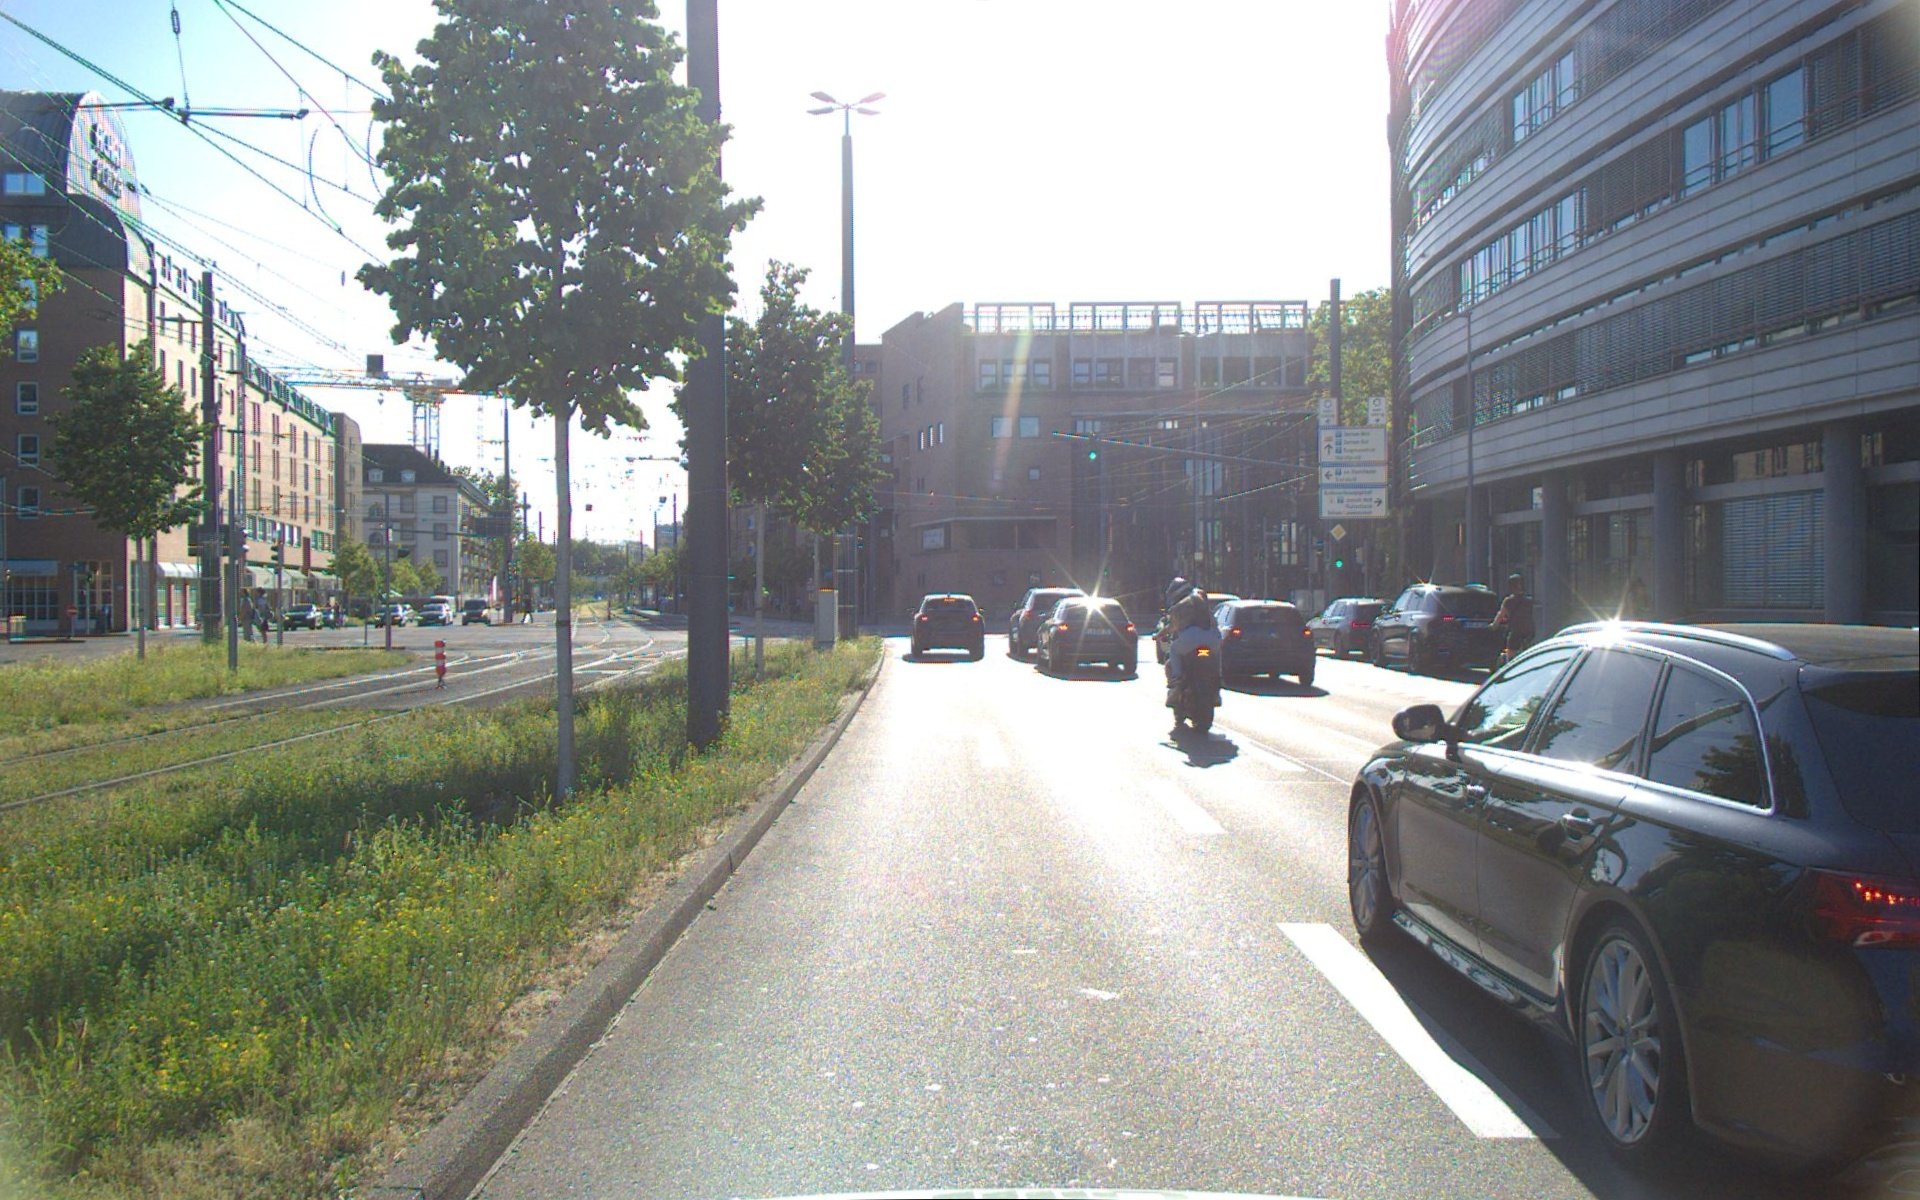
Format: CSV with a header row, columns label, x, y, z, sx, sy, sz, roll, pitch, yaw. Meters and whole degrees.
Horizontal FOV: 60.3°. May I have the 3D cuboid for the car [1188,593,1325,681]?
label,x,y,z,sx,sy,sz,roll,pitch,yaw
car,5.379,0.633,30.466,1.770,1.482,4.000,1,0,-1

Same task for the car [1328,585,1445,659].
label,x,y,z,sx,sy,sz,roll,pitch,yaw
car,10.156,0.497,39.668,1.952,1.680,4.002,0,0,3

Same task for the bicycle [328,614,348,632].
label,x,y,z,sx,sy,sz,roll,pitch,yaw
bicycle,-39.225,1.447,104.334,0.638,1.104,2.920,-1,0,-9

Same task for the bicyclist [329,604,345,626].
label,x,y,z,sx,sy,sz,roll,pitch,yaw
bicyclist,-39.084,0.930,103.742,0.743,1.399,0.949,-1,0,-9

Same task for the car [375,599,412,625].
label,x,y,z,sx,sy,sz,roll,pitch,yaw
car,-38.040,0.776,111.108,1.960,1.624,4.720,-1,1,-15

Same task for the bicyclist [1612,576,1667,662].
label,x,y,z,sx,sy,sz,roll,pitch,yaw
bicyclist,13.282,0.371,32.358,0.669,1.646,0.991,-1,0,2

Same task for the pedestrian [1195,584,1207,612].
label,x,y,z,sx,sy,sz,roll,pitch,yaw
pedestrian,12.509,-0.093,85.760,0.519,1.455,0.598,-1,0,-2

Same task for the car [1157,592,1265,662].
label,x,y,z,sx,sy,sz,roll,pitch,yaw
car,5.597,0.561,37.295,1.770,1.482,4.000,1,0,-1

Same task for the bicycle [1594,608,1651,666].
label,x,y,z,sx,sy,sz,roll,pitch,yaw
bicycle,12.890,0.699,32.213,0.493,1.076,1.703,-3,0,4

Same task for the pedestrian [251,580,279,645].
label,x,y,z,sx,sy,sz,roll,pitch,yaw
pedestrian,-19.881,0.348,47.311,0.552,1.849,0.662,-1,0,-8

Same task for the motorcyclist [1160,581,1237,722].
label,x,y,z,sx,sy,sz,roll,pitch,yaw
motorcyclist,2.701,0.564,18.798,0.729,1.557,1.021,-1,0,1

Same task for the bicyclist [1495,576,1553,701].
label,x,y,z,sx,sy,sz,roll,pitch,yaw
bicyclist,8.448,0.565,24.800,0.565,1.822,0.863,-1,0,0

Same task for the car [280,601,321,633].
label,x,y,z,sx,sy,sz,roll,pitch,yaw
car,-43.063,1.088,108.106,1.960,2.049,3.985,-1,0,-15

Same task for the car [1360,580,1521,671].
label,x,y,z,sx,sy,sz,roll,pitch,yaw
car,10.076,0.491,35.031,1.954,1.780,4.326,-1,0,-3

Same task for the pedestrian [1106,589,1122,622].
label,x,y,z,sx,sy,sz,roll,pitch,yaw
pedestrian,8.413,0.280,90.199,0.692,1.789,0.560,-1,0,24

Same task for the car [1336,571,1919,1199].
label,x,y,z,sx,sy,sz,roll,pitch,yaw
car,2.698,0.709,5.575,1.774,1.518,4.495,1,0,-1

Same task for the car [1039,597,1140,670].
label,x,y,z,sx,sy,sz,roll,pitch,yaw
car,2.581,0.643,33.712,1.702,1.373,4.000,0,0,0

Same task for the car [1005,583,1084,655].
label,x,y,z,sx,sy,sz,roll,pitch,yaw
car,2.035,0.449,40.825,1.702,1.680,4.000,0,0,0

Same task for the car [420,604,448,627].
label,x,y,z,sx,sy,sz,roll,pitch,yaw
car,-35.385,1.025,111.182,1.718,1.531,3.860,-1,0,-18

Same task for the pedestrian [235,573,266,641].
label,x,y,z,sx,sy,sz,roll,pitch,yaw
pedestrian,-19.888,0.190,46.349,0.619,1.862,0.662,-1,0,-8

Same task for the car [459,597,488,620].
label,x,y,z,sx,sy,sz,roll,pitch,yaw
car,-32.515,0.548,110.472,1.718,1.531,3.860,-1,0,-18

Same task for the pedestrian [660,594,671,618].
label,x,y,z,sx,sy,sz,roll,pitch,yaw
pedestrian,-20.767,0.450,116.548,0.729,1.669,0.765,-1,0,-15

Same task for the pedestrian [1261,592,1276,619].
label,x,y,z,sx,sy,sz,roll,pitch,yaw
pedestrian,19.058,0.347,102.159,0.881,1.645,0.561,-1,0,7

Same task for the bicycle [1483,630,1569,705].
label,x,y,z,sx,sy,sz,roll,pitch,yaw
bicycle,8.475,0.994,24.851,0.481,1.015,2.328,-1,0,0

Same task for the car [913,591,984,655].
label,x,y,z,sx,sy,sz,roll,pitch,yaw
car,-0.280,0.511,39.933,1.615,1.458,4.000,0,0,0

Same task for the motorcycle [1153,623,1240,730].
label,x,y,z,sx,sy,sz,roll,pitch,yaw
motorcycle,2.713,0.856,19.171,0.759,1.135,1.969,-1,0,1
